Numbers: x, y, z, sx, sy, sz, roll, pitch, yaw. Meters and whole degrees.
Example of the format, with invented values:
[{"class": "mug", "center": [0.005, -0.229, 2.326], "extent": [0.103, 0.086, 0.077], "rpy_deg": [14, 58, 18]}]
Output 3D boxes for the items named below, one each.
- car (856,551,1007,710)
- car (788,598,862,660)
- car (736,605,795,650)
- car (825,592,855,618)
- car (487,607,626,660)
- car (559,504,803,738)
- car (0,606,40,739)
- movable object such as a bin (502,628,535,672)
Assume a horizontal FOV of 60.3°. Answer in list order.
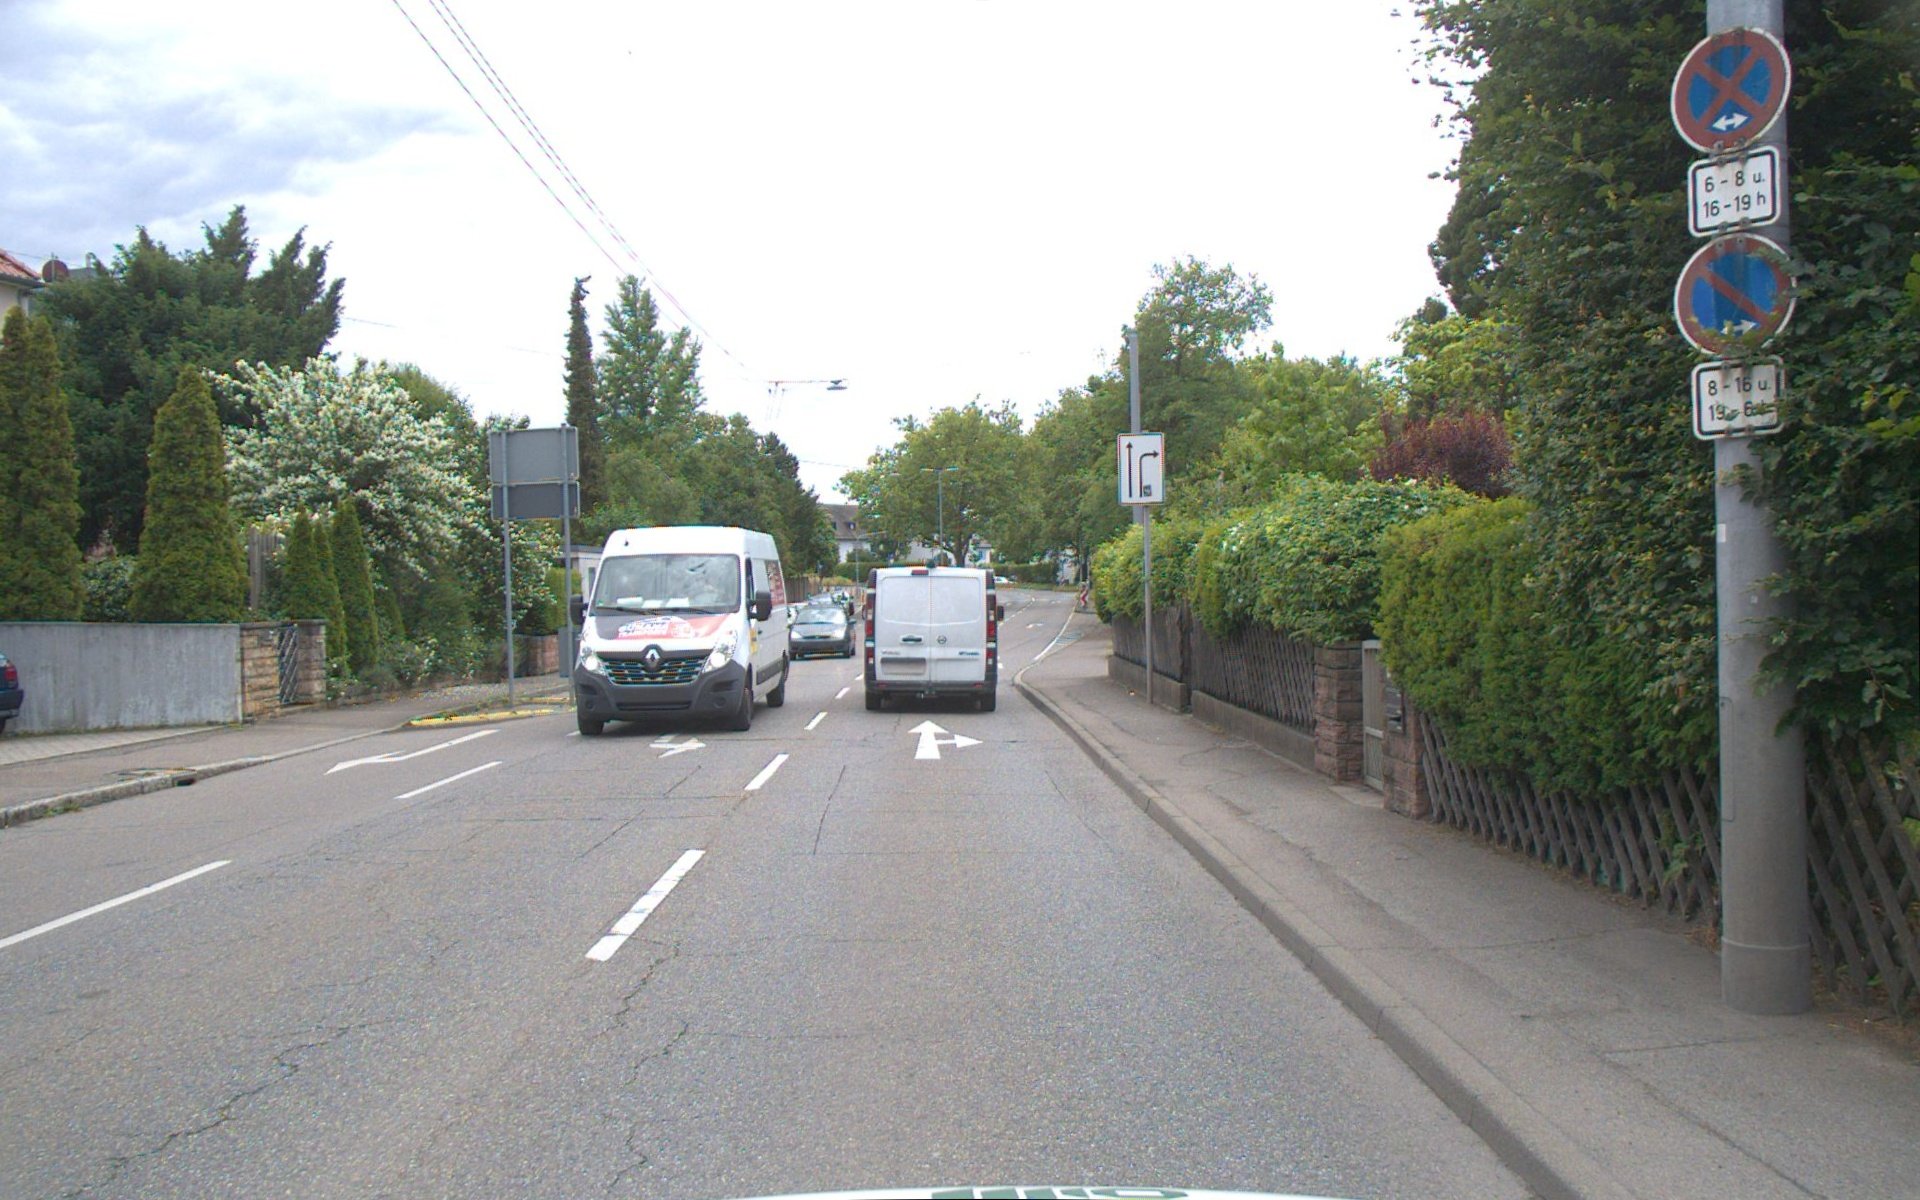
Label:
[{"class": "car", "center": [-0.455, 0.389, 24.392], "extent": [1.966, 2.073, 5.008], "rpy_deg": [1, 0, -2]}, {"class": "car", "center": [-3.692, 0.759, 45.839], "extent": [1.699, 1.580, 4.447], "rpy_deg": [-2, 0, -1]}, {"class": "car", "center": [-7.363, 1.033, 62.883], "extent": [1.851, 1.520, 4.025], "rpy_deg": [-3, 0, -2]}, {"class": "car", "center": [-7.964, 0.335, 110.184], "extent": [1.850, 1.653, 4.428], "rpy_deg": [-1, 0, -3]}, {"class": "car", "center": [-11.817, 0.974, 48.565], "extent": [3.512, 1.415, 1.851], "rpy_deg": [-1, 0, 8]}, {"class": "car", "center": [-3.375, 0.208, 21.378], "extent": [2.068, 2.542, 6.124], "rpy_deg": [-1, 0, 0]}, {"class": "car", "center": [-13.504, 0.993, 20.400], "extent": [3.512, 1.620, 1.644], "rpy_deg": [-3, 0, 13]}, {"class": "movable object such as a bin", "center": [-9.803, 1.111, 36.732], "extent": [0.527, 0.958, 0.509], "rpy_deg": [0, -1, 11]}]
